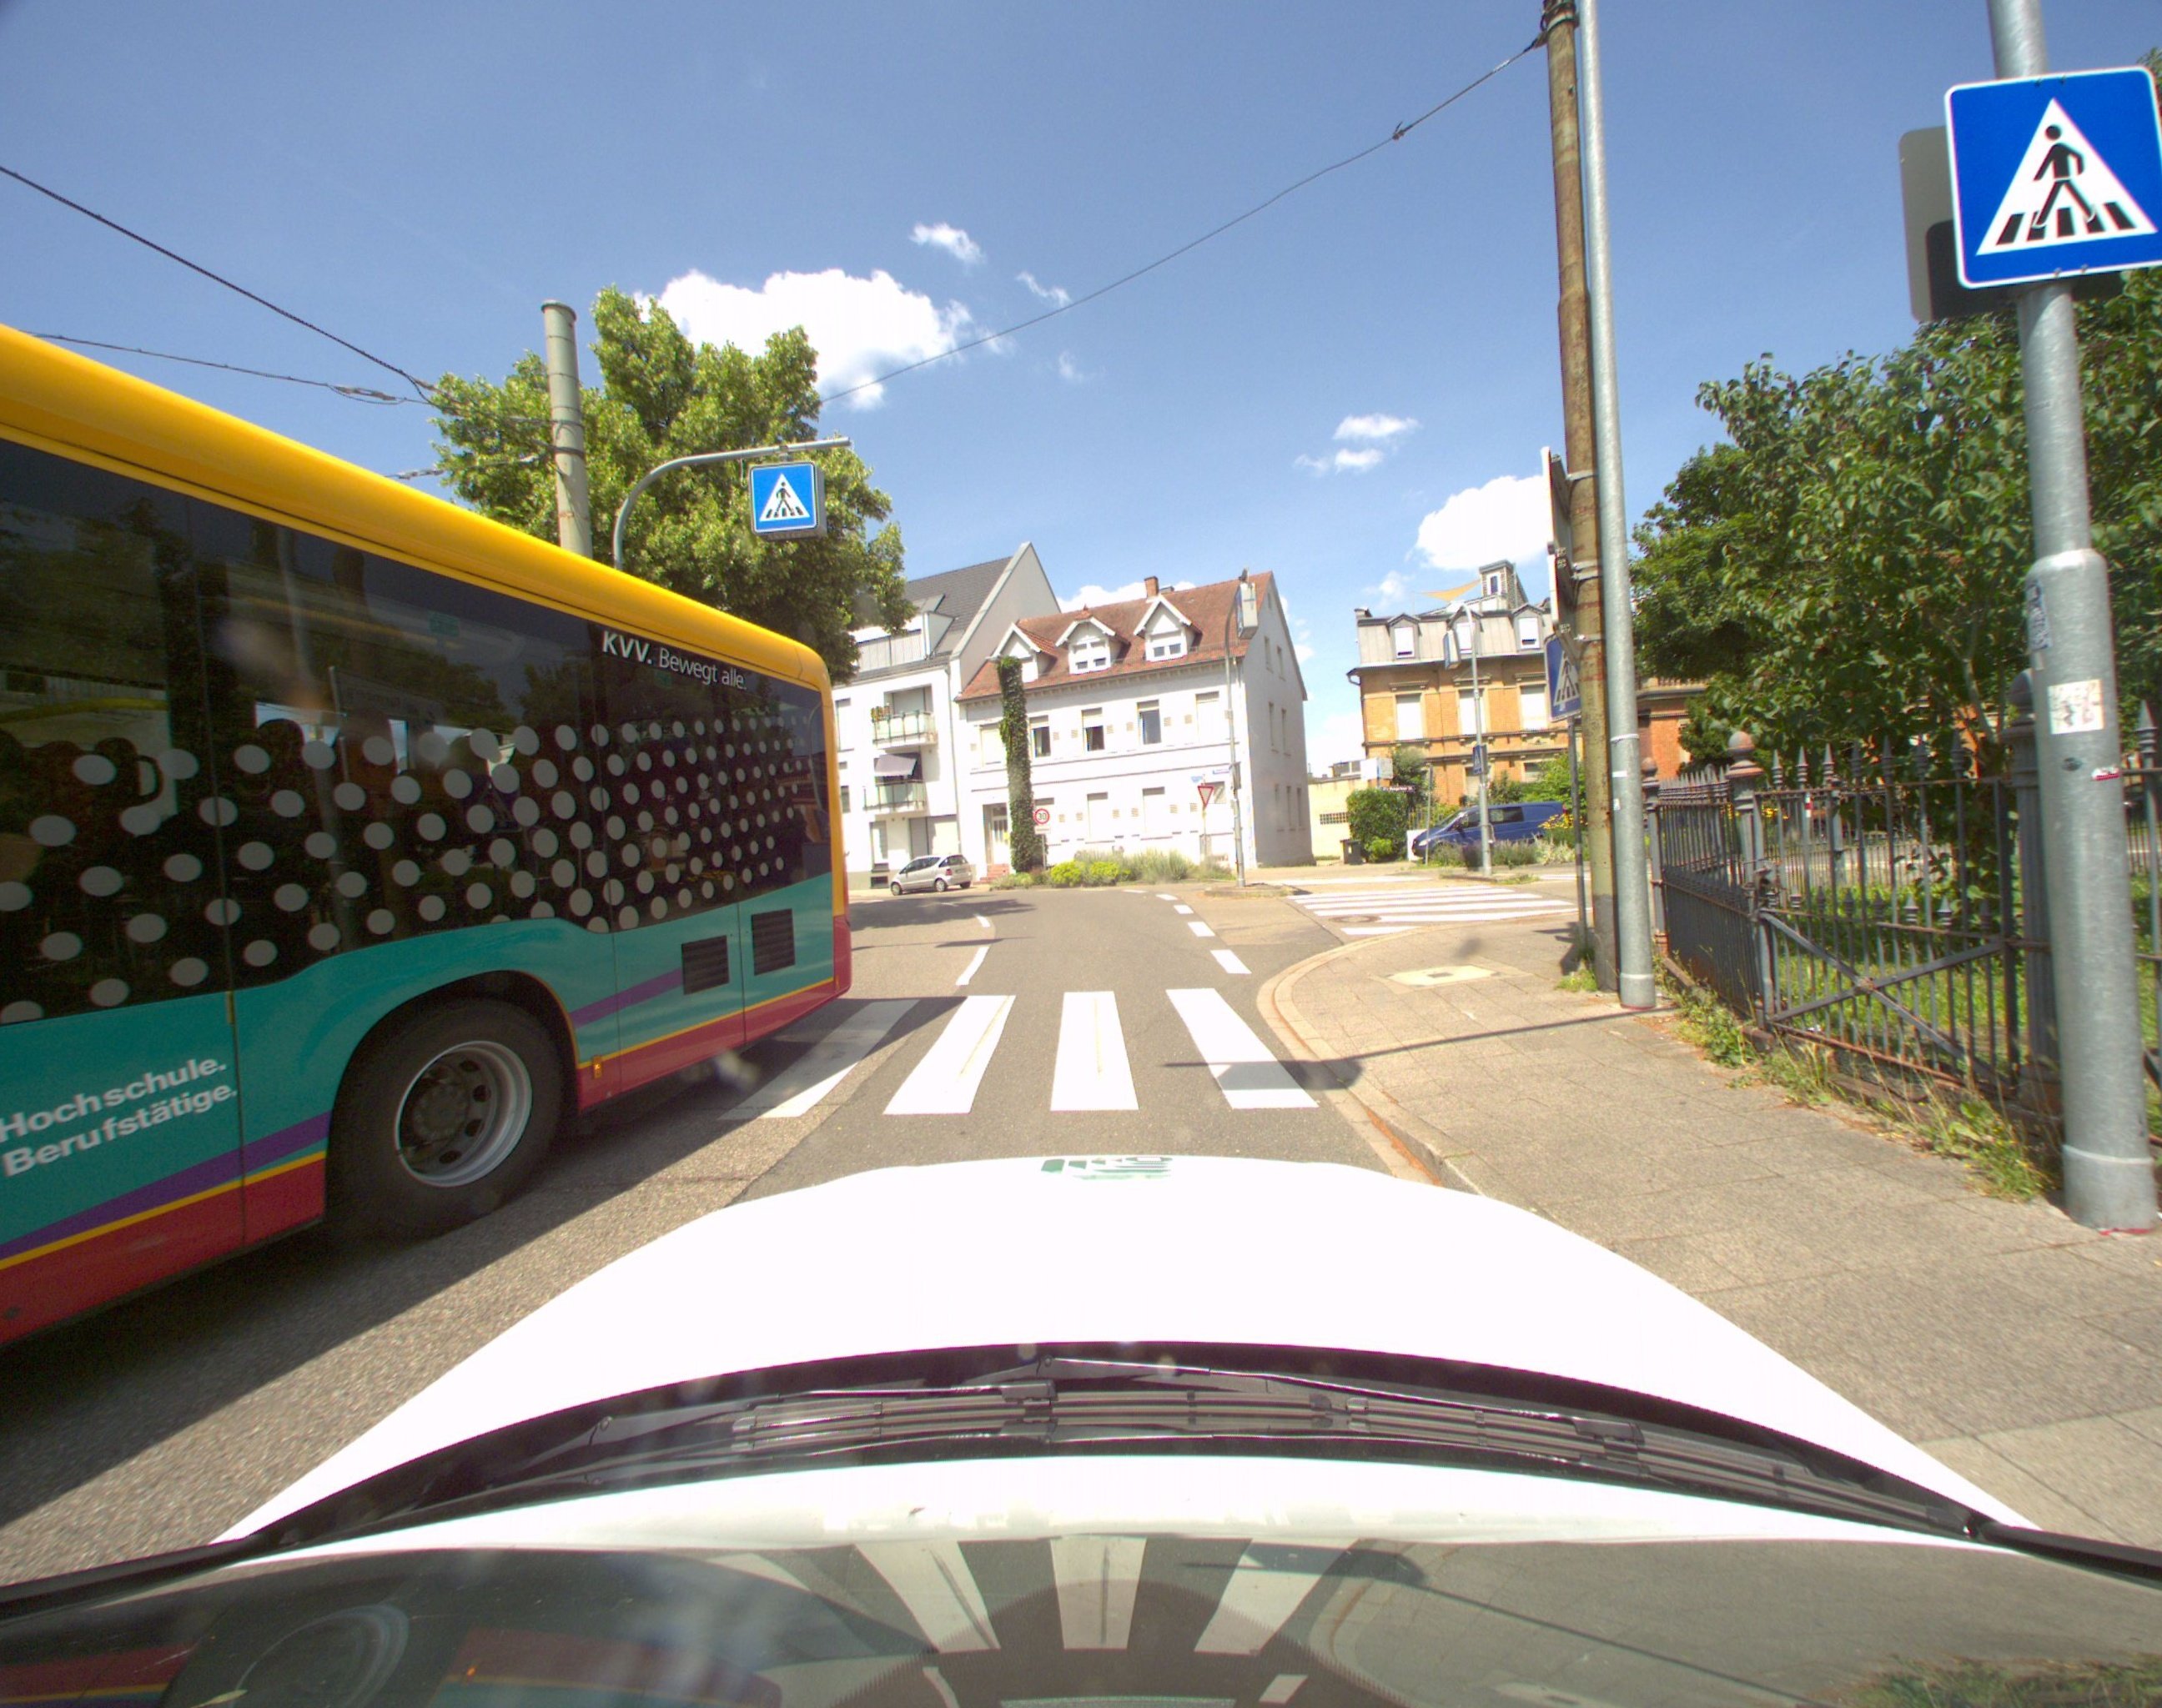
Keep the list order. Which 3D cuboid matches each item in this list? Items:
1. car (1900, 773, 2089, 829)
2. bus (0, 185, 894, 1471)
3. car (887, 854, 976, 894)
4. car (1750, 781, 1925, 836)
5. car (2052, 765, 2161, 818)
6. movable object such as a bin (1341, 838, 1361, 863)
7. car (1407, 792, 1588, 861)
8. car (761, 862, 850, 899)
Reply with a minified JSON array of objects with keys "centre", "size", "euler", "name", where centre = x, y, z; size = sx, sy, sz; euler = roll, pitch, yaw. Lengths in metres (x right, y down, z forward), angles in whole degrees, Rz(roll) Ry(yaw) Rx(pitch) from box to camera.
[{"centre":[31.178,-1.780,27.891],"size":[4.212,1.591,1.862],"euler":[-2,-1,3],"name":"car"},{"centre":[-4.363,-0.010,0.967],"size":[2.760,3.208,12.352],"euler":[-2,1,13],"name":"bus"},{"centre":[-6.407,0.843,34.783],"size":[3.571,1.586,1.594],"euler":[-3,-1,33],"name":"car"},{"centre":[26.068,-1.541,28.174],"size":[4.212,1.591,1.862],"euler":[-2,-1,3],"name":"car"},{"centre":[36.505,-2.151,27.747],"size":[4.426,1.591,1.862],"euler":[-2,-1,3],"name":"car"},{"centre":[10.023,-0.117,30.210],"size":[0.420,0.916,0.556],"euler":[-1,-1,-23],"name":"movable object such as a bin"},{"centre":[14.416,-0.943,28.523],"size":[5.192,1.947,2.090],"euler":[-4,1,10],"name":"car"},{"centre":[-12.894,1.240,38.090],"size":[3.858,1.465,1.672],"euler":[-3,5,29],"name":"car"}]
